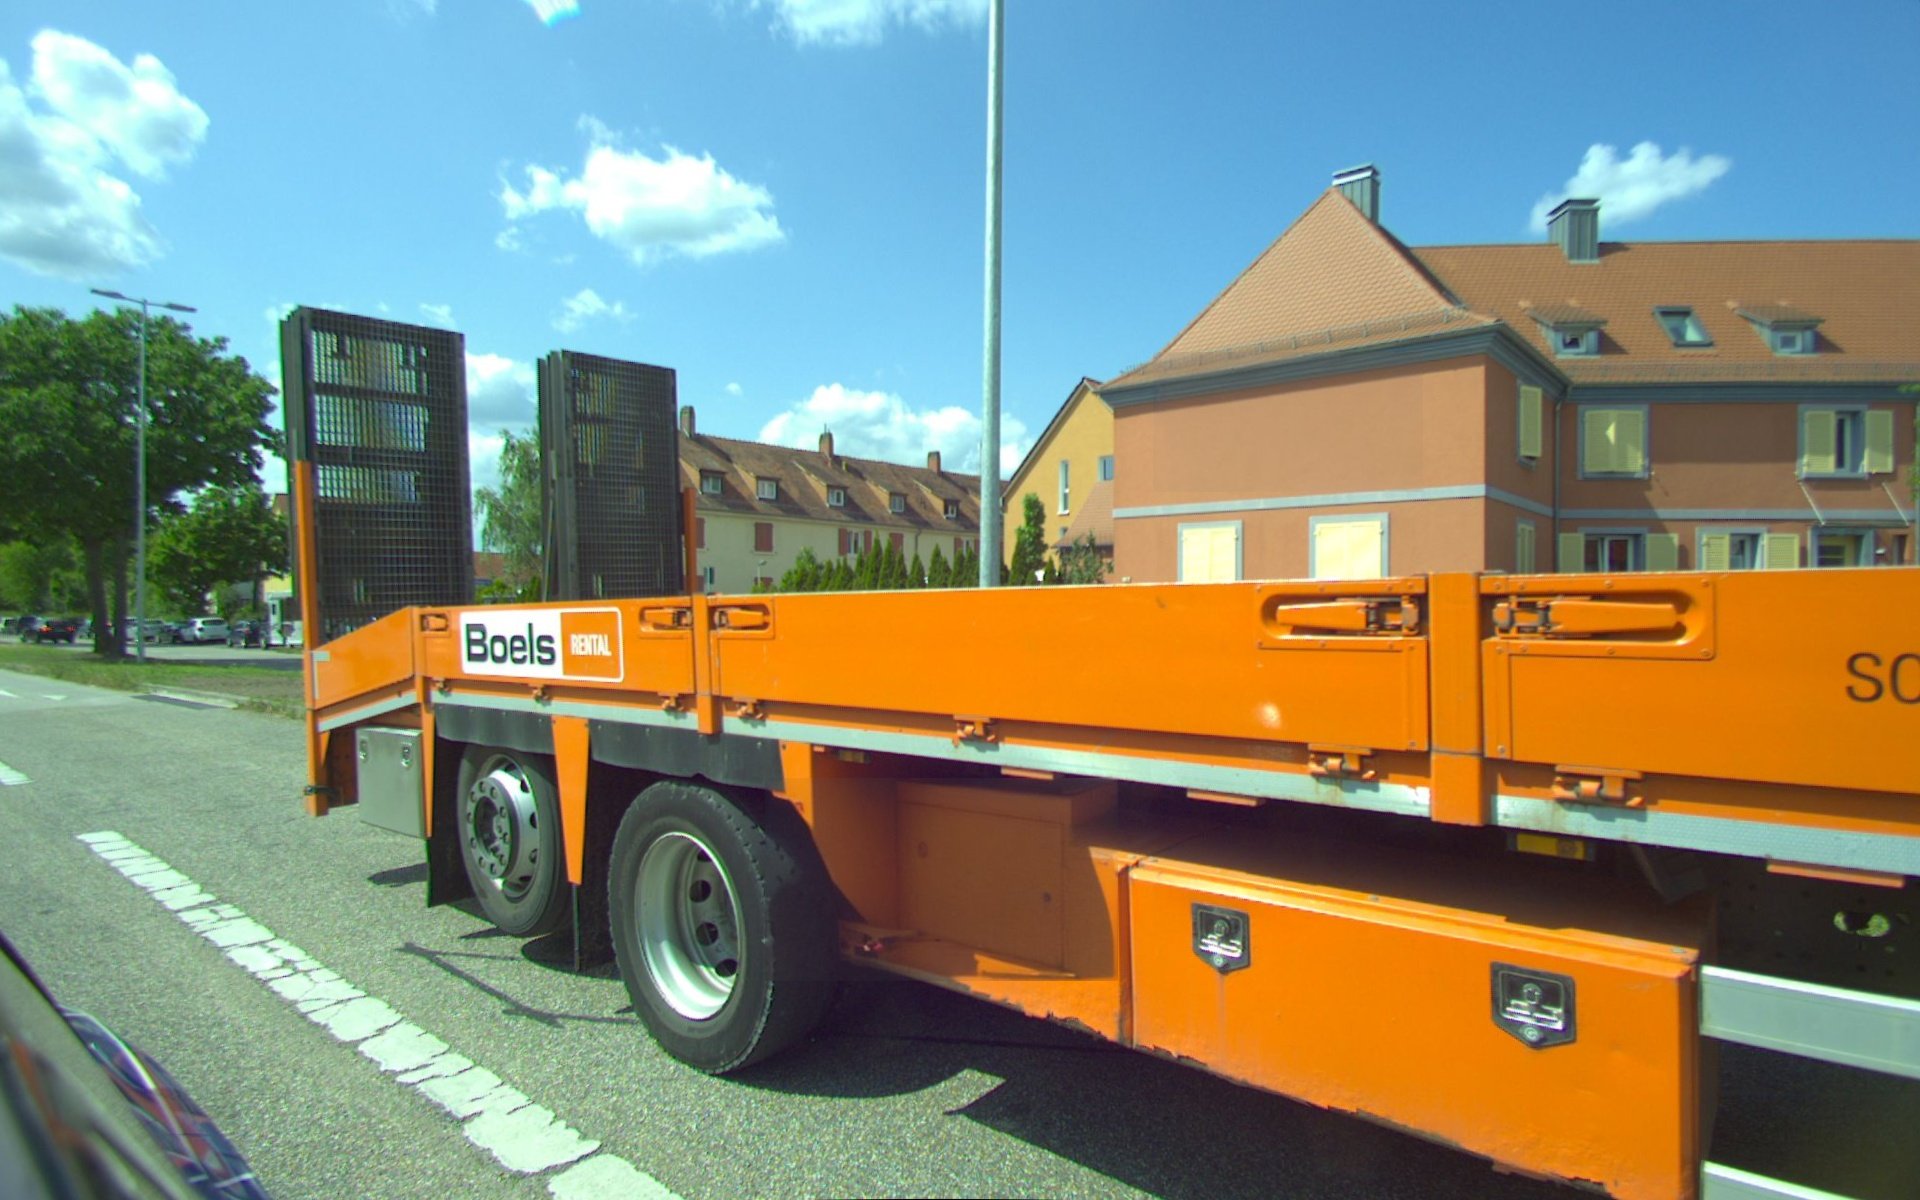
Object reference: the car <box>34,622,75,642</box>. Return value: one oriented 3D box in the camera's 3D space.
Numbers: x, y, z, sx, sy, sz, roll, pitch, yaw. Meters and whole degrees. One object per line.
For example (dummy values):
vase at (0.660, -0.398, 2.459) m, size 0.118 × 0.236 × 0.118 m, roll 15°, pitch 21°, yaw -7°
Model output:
car at (-72.005, 2.551, 80.490) m, size 4.096 × 1.492 × 1.645 m, roll -1°, pitch 1°, yaw 37°

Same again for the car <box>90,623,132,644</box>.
car at (-61.470, 2.427, 73.263) m, size 4.350 × 1.405 × 1.389 m, roll -1°, pitch 1°, yaw 38°

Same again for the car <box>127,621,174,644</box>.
car at (-53.334, 2.120, 66.637) m, size 4.527 × 1.380 × 1.496 m, roll -1°, pitch 1°, yaw 40°

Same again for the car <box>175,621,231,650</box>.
car at (-44.267, 2.063, 59.178) m, size 4.120 × 1.496 × 1.672 m, roll 0°, pitch 2°, yaw 40°

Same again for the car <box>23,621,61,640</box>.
car at (-77.514, 2.579, 85.478) m, size 3.840 × 1.462 × 1.645 m, roll 0°, pitch 2°, yaw 37°

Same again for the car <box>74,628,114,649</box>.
car at (-65.004, 2.847, 75.937) m, size 3.472 × 1.405 × 1.548 m, roll 0°, pitch 2°, yaw 38°

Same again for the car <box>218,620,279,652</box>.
car at (-37.813, 1.899, 53.771) m, size 3.989 × 1.496 × 1.620 m, roll 0°, pitch 2°, yaw 40°

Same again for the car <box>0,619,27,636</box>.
car at (-88.247, 2.510, 94.064) m, size 3.529 × 1.472 × 1.579 m, roll 0°, pitch 2°, yaw 37°

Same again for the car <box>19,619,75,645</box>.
car at (-55.134, 1.923, 61.090) m, size 4.571 × 1.449 × 1.754 m, roll 0°, pitch -1°, yaw 39°

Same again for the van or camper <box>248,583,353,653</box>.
van or camper at (-32.368, 0.892, 49.553) m, size 7.314 × 3.135 × 2.236 m, roll -2°, pitch 1°, yaw 40°

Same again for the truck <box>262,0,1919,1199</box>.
truck at (1.225, -0.406, 3.300) m, size 11.062 × 3.439 × 3.039 m, roll 0°, pitch 2°, yaw 41°

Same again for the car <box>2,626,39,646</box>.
car at (-83.548, 3.185, 90.006) m, size 4.307 × 1.624 × 1.645 m, roll 0°, pitch 2°, yaw 37°

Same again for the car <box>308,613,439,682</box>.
car at (-15.695, 1.218, 27.007) m, size 3.997 × 1.702 × 1.776 m, roll -1°, pitch -1°, yaw 40°
